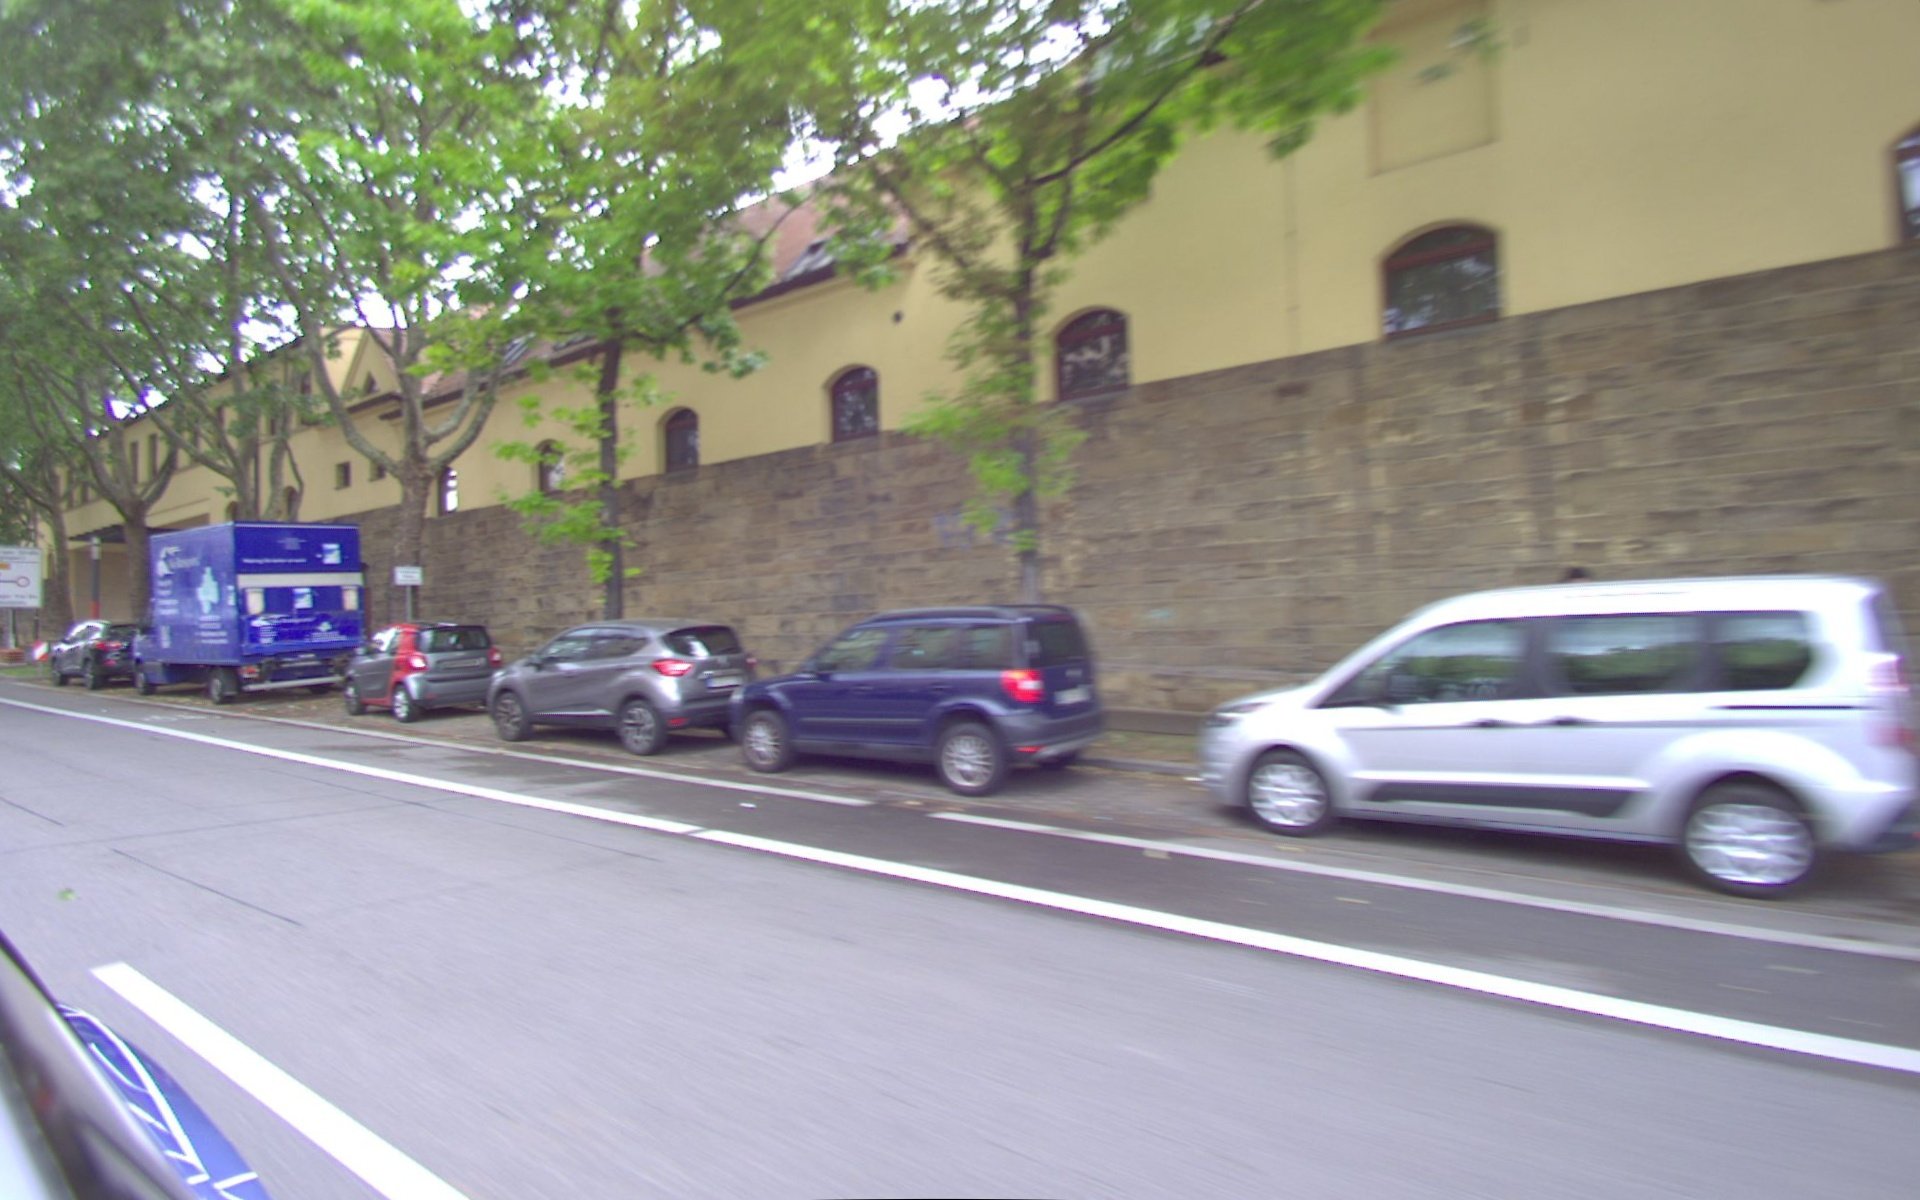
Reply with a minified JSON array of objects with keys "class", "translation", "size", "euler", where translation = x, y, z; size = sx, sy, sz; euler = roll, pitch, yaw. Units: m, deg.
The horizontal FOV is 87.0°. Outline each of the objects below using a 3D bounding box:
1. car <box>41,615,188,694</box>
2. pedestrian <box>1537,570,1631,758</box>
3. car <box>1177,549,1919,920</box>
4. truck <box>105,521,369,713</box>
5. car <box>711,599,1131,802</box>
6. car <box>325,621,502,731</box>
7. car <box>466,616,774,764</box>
[{"class":"car","translation":[-20.719,1.262,24.753],"size":[4.243,1.701,1.716],"euler":[-1,1,36]},{"class":"pedestrian","translation":[6.273,0.611,10.176],"size":[0.741,1.813,0.587],"euler":[-1,1,37]},{"class":"car","translation":[3.942,0.734,7.043],"size":[4.409,1.891,1.817],"euler":[-1,-2,37]},{"class":"truck","translation":[-15.244,0.332,21.118],"size":[7.231,3.442,2.196],"euler":[-1,1,36]},{"class":"car","translation":[-0.495,0.843,10.127],"size":[4.104,1.643,1.496],"euler":[-1,1,34]},{"class":"car","translation":[-9.046,1.169,16.692],"size":[2.988,1.585,1.466],"euler":[-1,1,38]},{"class":"car","translation":[-4.460,1.035,13.064],"size":[4.075,1.585,1.581],"euler":[-1,1,33]}]
